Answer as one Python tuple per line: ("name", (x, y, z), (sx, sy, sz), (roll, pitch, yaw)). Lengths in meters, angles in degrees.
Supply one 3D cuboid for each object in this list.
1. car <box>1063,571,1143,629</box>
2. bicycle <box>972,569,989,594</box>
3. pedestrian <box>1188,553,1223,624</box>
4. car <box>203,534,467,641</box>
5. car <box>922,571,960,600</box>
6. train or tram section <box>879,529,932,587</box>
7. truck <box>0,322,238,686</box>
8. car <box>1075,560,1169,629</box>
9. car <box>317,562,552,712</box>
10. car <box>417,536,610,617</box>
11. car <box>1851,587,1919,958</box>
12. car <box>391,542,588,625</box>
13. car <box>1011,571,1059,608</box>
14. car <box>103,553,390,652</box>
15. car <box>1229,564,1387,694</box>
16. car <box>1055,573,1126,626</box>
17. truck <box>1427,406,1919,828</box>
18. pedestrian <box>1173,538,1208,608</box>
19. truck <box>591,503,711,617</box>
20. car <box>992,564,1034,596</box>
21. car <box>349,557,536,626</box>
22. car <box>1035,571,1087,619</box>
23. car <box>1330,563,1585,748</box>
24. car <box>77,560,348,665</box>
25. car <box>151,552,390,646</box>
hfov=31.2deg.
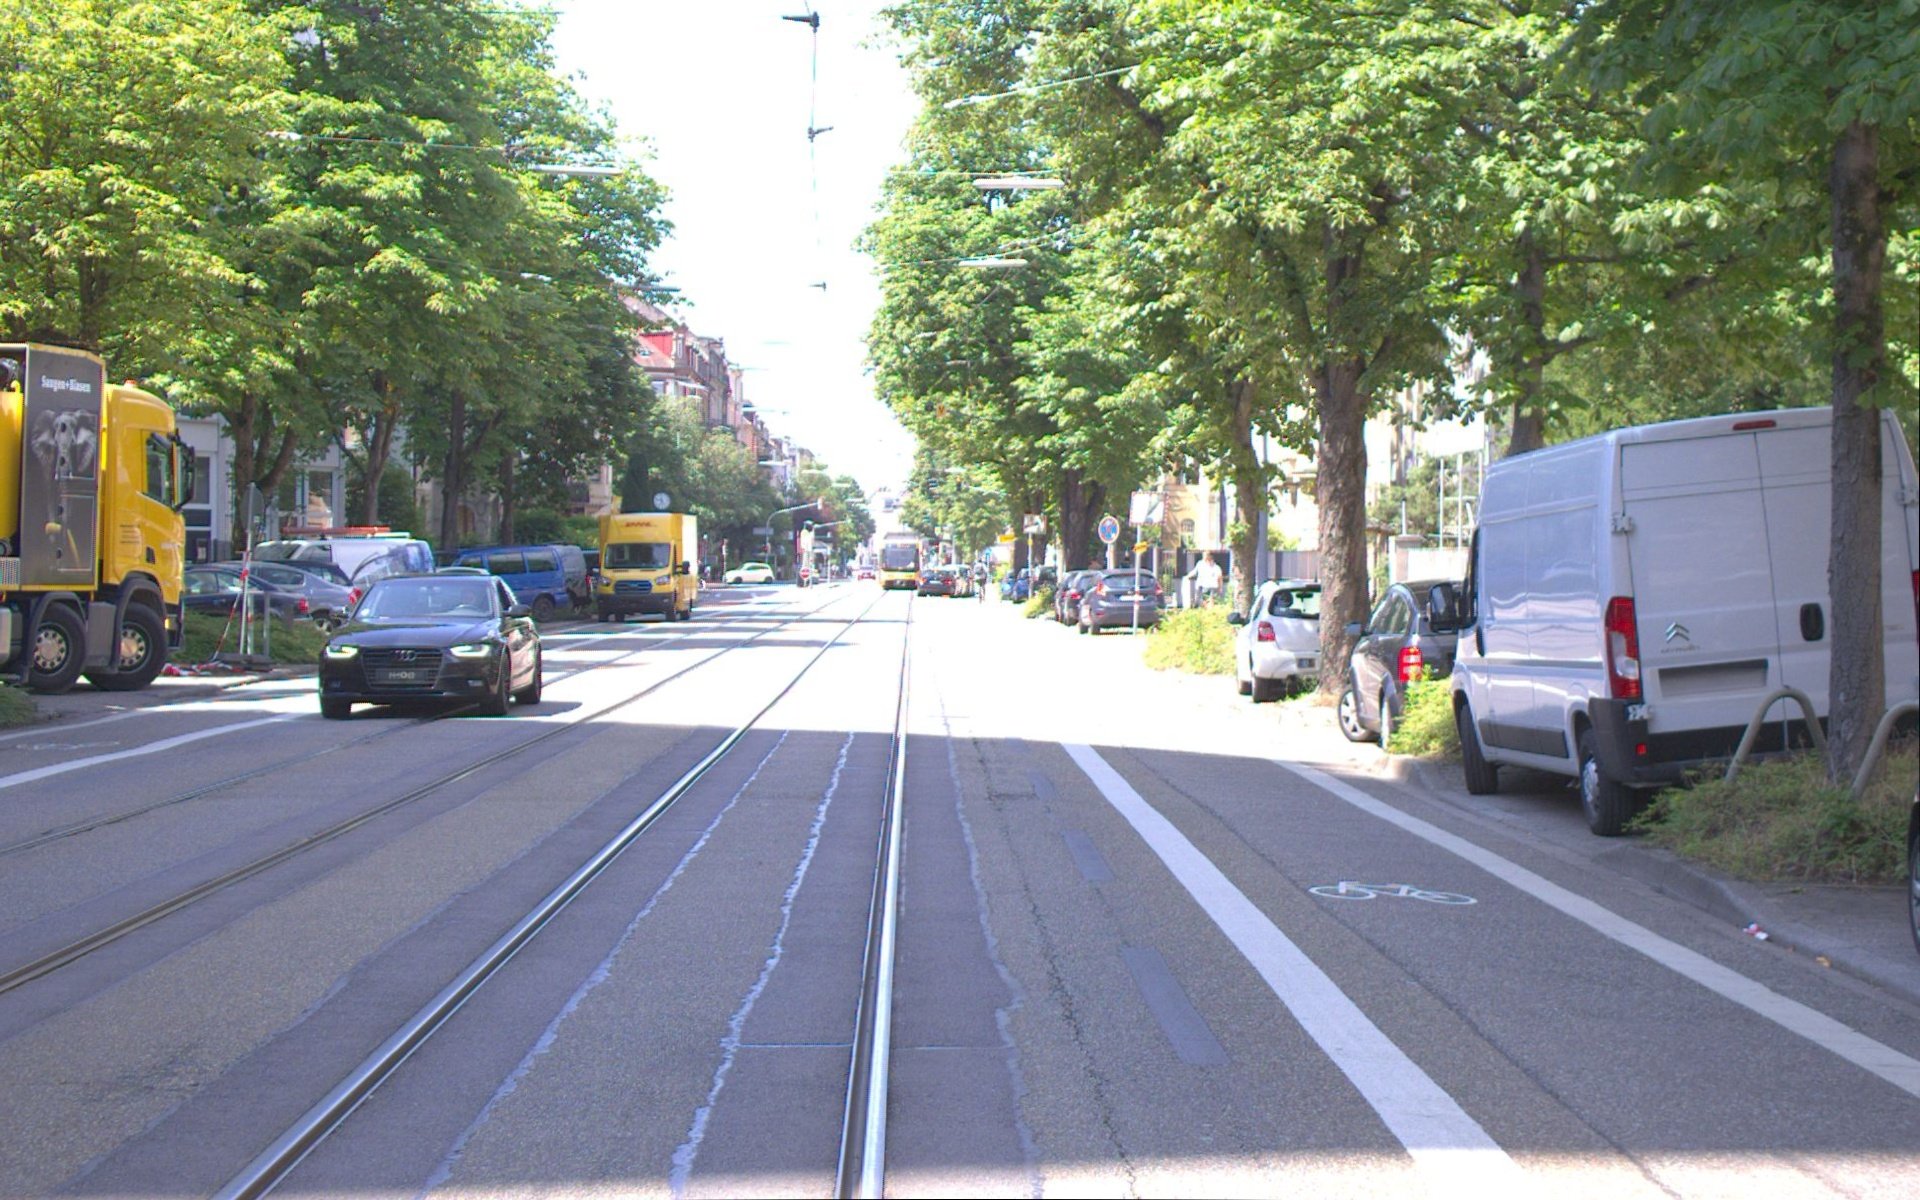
("car", (3.679, 0.003, 89.081), (1.876, 1.450, 4.528), (0, 0, 0))
("bicycle", (0.835, -0.735, 140.514), (0.639, 0.966, 1.781), (2, -1, -2))
("pedestrian", (6.489, -0.311, 90.889), (0.575, 1.853, 0.726), (-1, 1, -36))
("car", (-11.934, -0.256, 65.851), (1.920, 1.928, 4.745), (-1, 0, 42))
("car", (-0.896, -0.682, 163.026), (1.781, 1.341, 3.416), (0, 1, 0))
("train or tram section", (-3.308, -2.566, 211.508), (3.035, 3.427, 11.970), (0, 1, 0))
("truck", (-11.404, -1.051, 36.653), (2.717, 3.828, 10.957), (2, 0, 13))
("car", (3.580, -0.124, 76.575), (1.639, 1.480, 3.873), (0, 0, -4))
("car", (-5.247, 0.329, 34.803), (1.774, 1.392, 4.287), (0, 1, -1))
("car", (-11.930, -0.626, 91.986), (4.748, 2.055, 2.026), (-2, 1, -39))
("car", (4.721, 0.719, 12.711), (1.824, 1.466, 4.400), (0, 1, 2))
("car", (-11.715, -0.420, 85.801), (1.846, 1.949, 4.719), (-1, 1, 44))
("car", (2.966, -0.419, 136.953), (1.710, 1.418, 4.310), (0, 0, -1))
("car", (-11.591, 0.021, 55.983), (4.192, 1.502, 1.873), (-1, 1, -42))
("car", (4.318, 0.332, 43.100), (1.644, 1.529, 3.785), (0, 1, 1))
("car", (3.598, -0.012, 95.514), (1.710, 1.418, 4.244), (0, 0, -1))
("truck", (4.645, 0.051, 23.253), (2.014, 2.480, 5.956), (0, 1, -1))
("pedestrian", (6.210, -0.727, 92.528), (0.809, 1.853, 0.576), (0, 0, 15))
("truck", (-8.095, -1.070, 90.808), (2.360, 2.843, 7.378), (-1, 1, 1))
("car", (2.393, -0.897, 155.315), (1.710, 1.418, 4.310), (0, 0, -1))
("car", (-11.904, -0.208, 79.239), (1.761, 1.428, 3.990), (-2, 0, 42))
("car", (3.439, -0.162, 117.725), (1.592, 1.611, 3.908), (0, 0, -1))
("car", (4.410, 0.449, 30.968), (1.644, 1.529, 3.947), (0, 1, -1))
("car", (-11.419, 0.175, 52.672), (1.761, 1.502, 3.700), (0, 1, 42))
("car", (-11.828, -0.028, 59.121), (1.691, 1.538, 3.700), (0, 1, 44))
